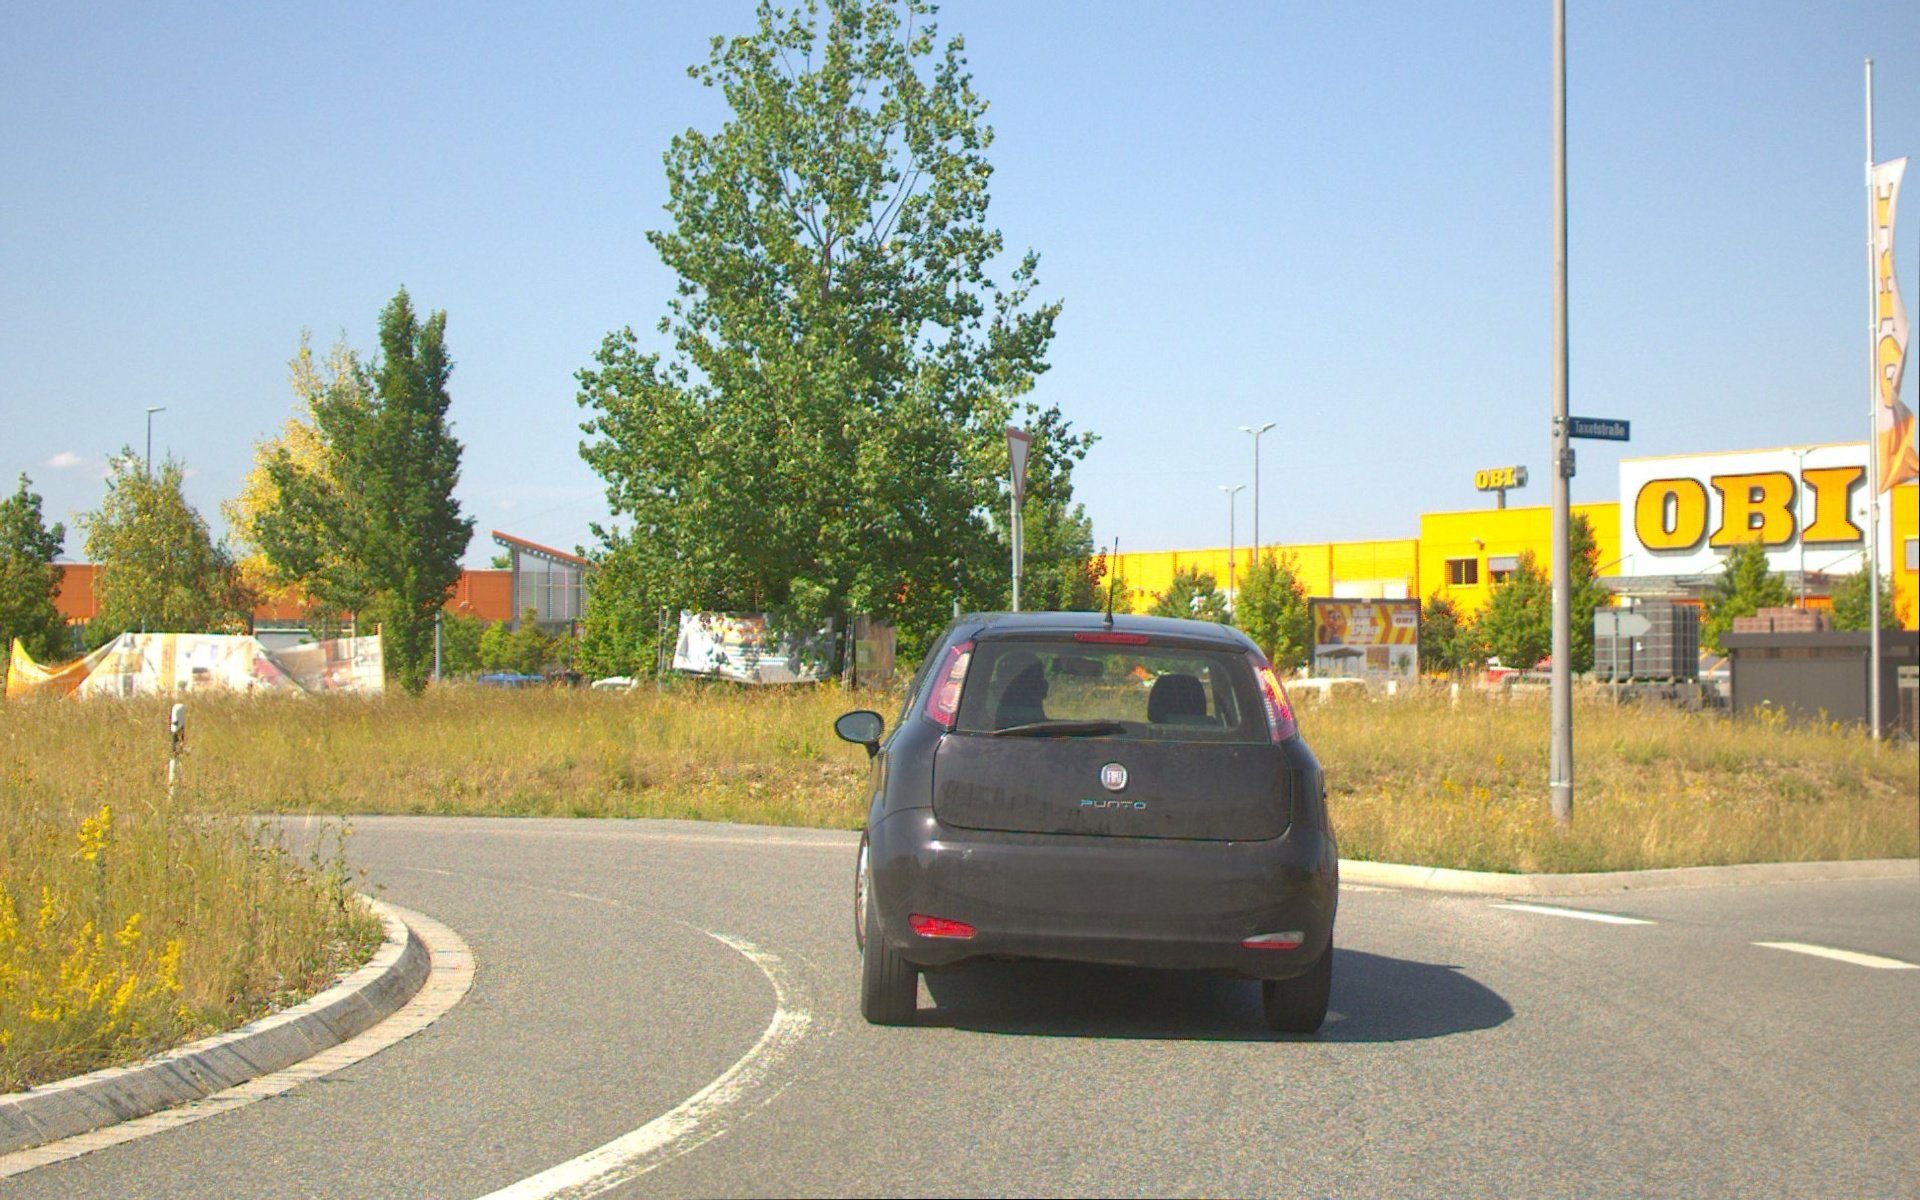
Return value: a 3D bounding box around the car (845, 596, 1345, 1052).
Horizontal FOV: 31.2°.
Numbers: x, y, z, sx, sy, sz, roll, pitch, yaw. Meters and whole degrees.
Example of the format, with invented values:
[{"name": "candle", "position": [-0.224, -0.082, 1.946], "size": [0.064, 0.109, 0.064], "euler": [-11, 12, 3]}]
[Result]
[{"name": "car", "position": [0.509, 0.779, 13.492], "size": [1.639, 1.482, 3.904], "euler": [2, -1, 2]}]
